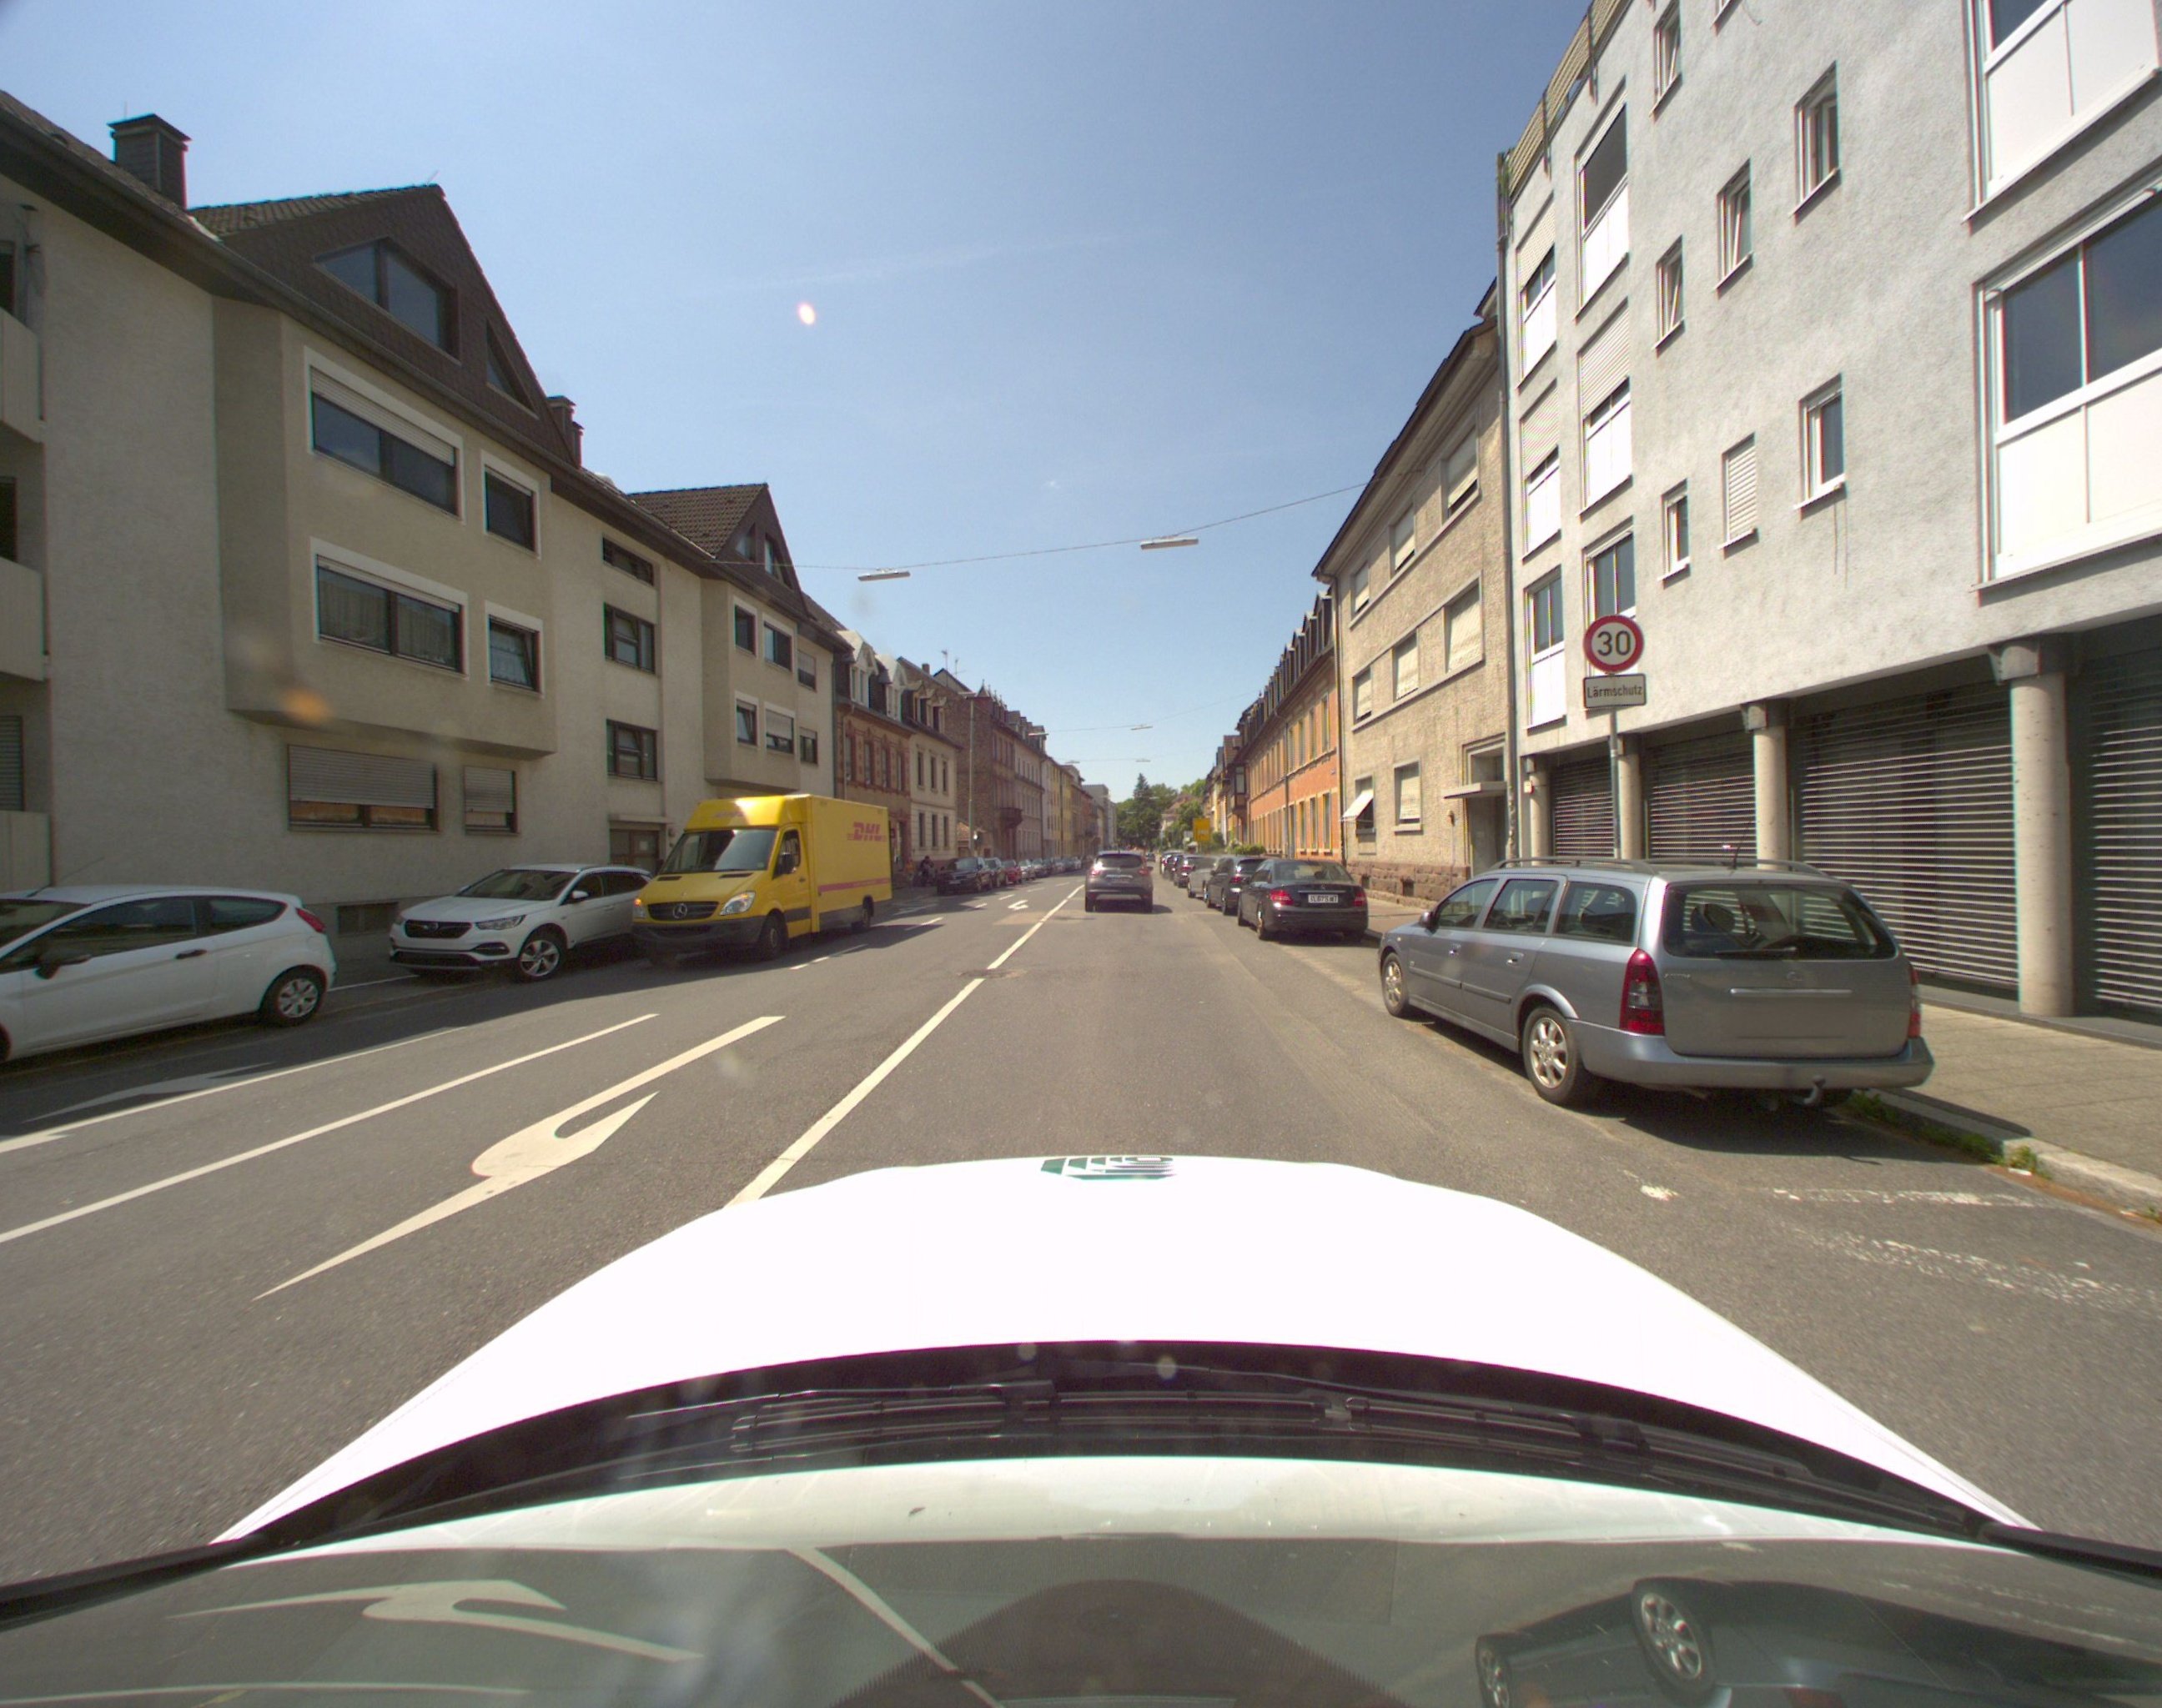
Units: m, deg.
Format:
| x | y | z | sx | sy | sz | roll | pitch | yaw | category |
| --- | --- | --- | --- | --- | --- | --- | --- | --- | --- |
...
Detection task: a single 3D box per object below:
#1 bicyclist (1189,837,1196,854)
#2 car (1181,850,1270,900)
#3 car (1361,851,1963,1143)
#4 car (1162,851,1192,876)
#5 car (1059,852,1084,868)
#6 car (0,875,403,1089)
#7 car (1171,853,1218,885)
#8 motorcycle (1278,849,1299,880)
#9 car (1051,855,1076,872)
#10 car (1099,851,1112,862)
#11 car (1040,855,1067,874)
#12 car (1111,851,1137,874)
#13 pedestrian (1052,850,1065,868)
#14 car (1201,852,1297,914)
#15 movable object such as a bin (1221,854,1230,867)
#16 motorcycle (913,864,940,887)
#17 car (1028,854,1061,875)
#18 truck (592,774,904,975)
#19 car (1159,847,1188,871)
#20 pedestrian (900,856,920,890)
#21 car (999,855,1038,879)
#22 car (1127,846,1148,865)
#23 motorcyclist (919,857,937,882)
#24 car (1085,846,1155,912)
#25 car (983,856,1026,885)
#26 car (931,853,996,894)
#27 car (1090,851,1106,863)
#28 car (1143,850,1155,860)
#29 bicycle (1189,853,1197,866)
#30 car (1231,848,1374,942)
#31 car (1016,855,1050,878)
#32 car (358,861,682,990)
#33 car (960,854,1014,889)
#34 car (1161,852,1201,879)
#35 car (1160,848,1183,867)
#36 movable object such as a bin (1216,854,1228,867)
| x | y | z | sx | sy | sz | roll | pitch | yaw | category |
| --- | --- | --- | --- | --- | --- | --- | --- | --- | --- |
| 9.731 | -0.735 | 70.914 | 0.530 | 1.469 | 0.792 | -2 | 0 | 6 | bicyclist |
| 4.545 | 0.636 | 26.314 | 1.849 | 1.463 | 4.546 | -1 | 0 | -3 | car |
| 3.628 | 0.712 | 6.158 | 1.671 | 1.454 | 4.143 | 0 | 0 | 1 | car |
| 5.933 | 0.551 | 50.798 | 1.708 | 1.414 | 4.596 | -2 | 0 | 5 | car |
| -0.933 | 0.626 | 82.132 | 1.830 | 1.422 | 4.566 | -4 | -1 | 6 | car |
| -8.916 | 0.996 | 7.312 | 1.832 | 1.489 | 4.389 | 1 | 0 | 2 | car |
| 5.056 | 0.643 | 36.693 | 1.694 | 1.380 | 4.169 | -1 | 0 | 2 | car |
| 8.455 | 0.425 | 33.192 | 0.593 | 1.225 | 1.363 | -1 | 0 | 4 | motorcycle |
| -1.602 | 0.856 | 76.374 | 1.832 | 1.422 | 4.650 | -3 | 0 | 3 | car |
| 3.795 | 0.353 | 127.092 | 1.897 | 1.619 | 4.304 | -3 | 0 | 2 | car |
| -2.327 | 0.890 | 70.470 | 1.832 | 1.422 | 4.506 | -3 | 0 | 3 | car |
| 3.318 | 0.647 | 62.079 | 1.804 | 1.620 | 4.446 | -3 | 0 | 4 | car |
| -2.340 | 0.514 | 83.849 | 1.145 | 1.750 | 0.971 | -2 | 0 | 7 | pedestrian |
| 4.228 | 0.674 | 21.083 | 1.646 | 1.420 | 4.048 | -1 | 0 | 0 | car |
| 11.640 | 0.513 | 65.762 | 0.655 | 1.055 | 0.750 | -1 | 0 | 6 | movable object such as a bin |
| -7.850 | 1.078 | 41.510 | 0.841 | 1.078 | 1.874 | -2 | 0 | 5 | motorcycle |
| -2.886 | 0.826 | 65.235 | 1.830 | 1.422 | 4.510 | -5 | -1 | 6 | car |
| -5.600 | 0.283 | 15.442 | 2.215 | 2.771 | 7.572 | -3 | 0 | 4 | truck |
| 6.751 | 0.333 | 59.938 | 1.984 | 1.662 | 4.632 | -2 | 0 | 5 | car |
| -7.729 | 0.863 | 36.853 | 0.605 | 1.495 | 0.972 | 0 | 0 | 5 | pedestrian |
| -4.046 | 0.804 | 53.539 | 1.831 | 1.422 | 4.508 | -3 | 0 | 4 | car |
| 6.144 | 0.134 | 87.756 | 1.983 | 2.013 | 4.474 | -2 | 0 | 6 | car |
| -7.804 | 0.792 | 41.549 | 0.715 | 1.248 | 0.713 | -2 | 0 | 4 | motorcyclist |
| 0.969 | 0.614 | 22.154 | 1.738 | 1.616 | 4.000 | 0 | 0 | 0 | car |
| -4.334 | 0.901 | 46.951 | 1.833 | 1.422 | 4.504 | -4 | 0 | 2 | car |
| -5.191 | 0.834 | 36.473 | 1.831 | 1.597 | 4.508 | -3 | 0 | 4 | car |
| 2.436 | 0.447 | 115.458 | 1.896 | 1.619 | 4.308 | -3 | 0 | 5 | car |
| 10.594 | 0.157 | 126.608 | 1.754 | 1.560 | 3.950 | -2 | 0 | 7 | car |
| 9.737 | 0.487 | 70.875 | 0.590 | 1.066 | 1.885 | -2 | 0 | 6 | bicycle |
| 3.972 | 0.655 | 15.332 | 1.704 | 1.473 | 4.442 | -2 | 0 | 3 | car |
| -3.433 | 0.903 | 59.382 | 1.832 | 1.422 | 4.506 | -6 | -1 | 3 | car |
| -8.313 | 0.942 | 12.695 | 1.832 | 1.595 | 4.389 | 1 | 0 | 2 | car |
| -4.835 | 0.854 | 42.357 | 1.831 | 1.596 | 4.508 | -5 | -1 | 4 | car |
| 5.519 | 0.608 | 45.404 | 1.643 | 1.414 | 4.500 | -1 | 0 | -1 | car |
| 8.586 | 0.267 | 77.388 | 1.853 | 1.747 | 4.621 | 0 | 0 | 3 | car |
| 10.348 | 0.447 | 59.732 | 0.785 | 0.907 | 0.539 | -2 | 0 | 2 | movable object such as a bin |
